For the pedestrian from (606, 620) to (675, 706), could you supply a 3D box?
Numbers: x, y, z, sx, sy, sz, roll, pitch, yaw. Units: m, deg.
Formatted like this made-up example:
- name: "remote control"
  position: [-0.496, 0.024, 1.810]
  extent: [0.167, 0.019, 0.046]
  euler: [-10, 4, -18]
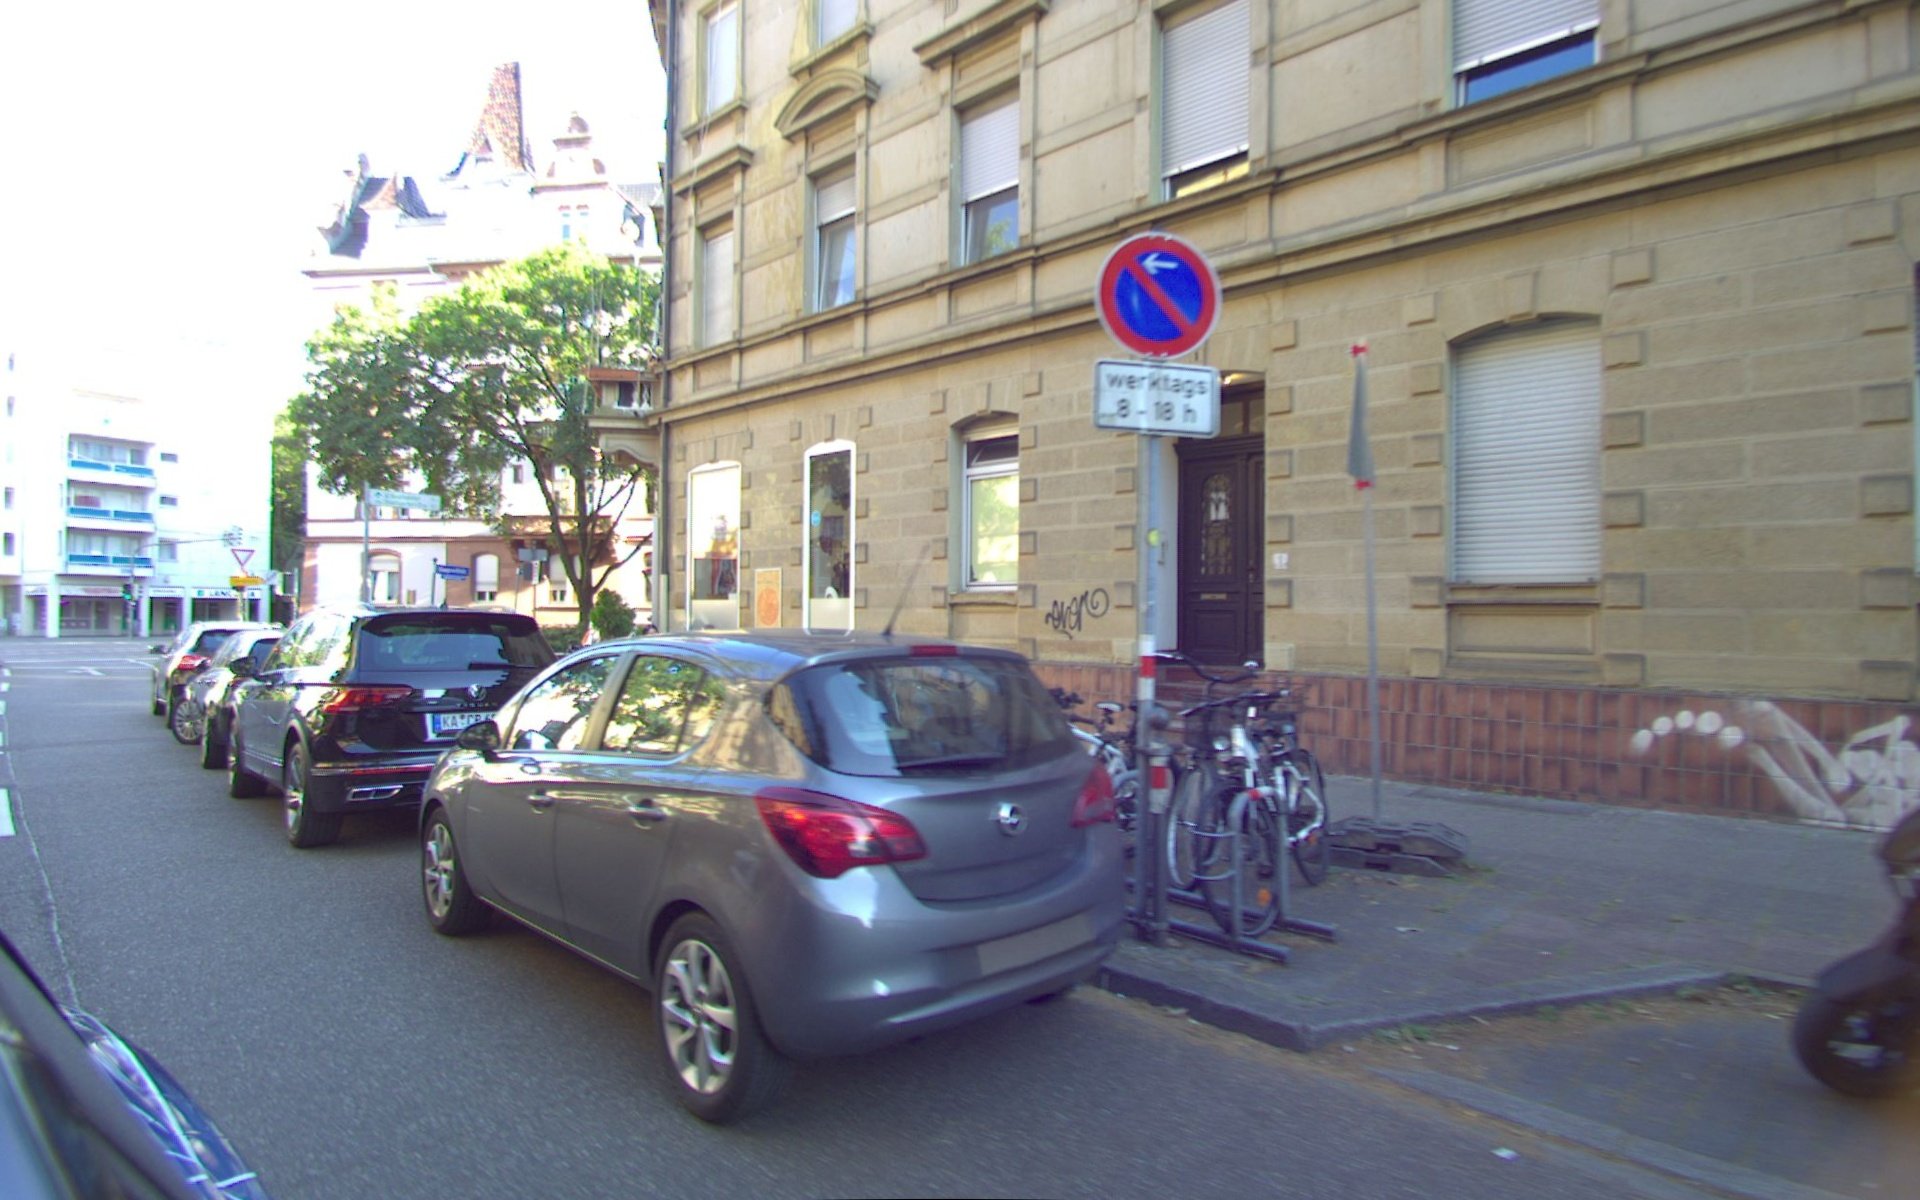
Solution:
- name: "pedestrian"
  position: [-4.912, 0.948, 15.575]
  extent: [0.756, 1.268, 0.718]
  euler: [-1, -2, 41]

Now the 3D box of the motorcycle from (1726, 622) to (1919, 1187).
- name: "motorcycle"
  position: [3.410, 0.741, 2.283]
  extent: [2.605, 1.380, 1.055]
  euler: [-1, -1, 41]

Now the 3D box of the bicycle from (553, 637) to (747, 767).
- name: "bicycle"
  position: [-3.094, 0.979, 10.243]
  extent: [1.846, 1.137, 0.529]
  euler: [-1, 0, -45]

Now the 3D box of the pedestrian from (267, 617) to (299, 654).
- name: "pedestrian"
  position: [-31.661, 1.674, 47.336]
  extent: [0.857, 1.710, 0.985]
  euler: [0, -1, -2]

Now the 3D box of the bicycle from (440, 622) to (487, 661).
- name: "bicycle"
  position: [-16.089, 1.324, 32.754]
  extent: [0.539, 1.205, 2.962]
  euler: [1, -2, -43]

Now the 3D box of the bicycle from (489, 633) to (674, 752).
- name: "bicycle"
  position: [-4.100, 0.962, 11.080]
  extent: [1.846, 1.137, 0.529]
  euler: [-1, 0, -45]

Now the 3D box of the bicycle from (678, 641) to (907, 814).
- name: "bicycle"
  position: [-1.265, 0.934, 7.988]
  extent: [0.528, 1.137, 1.847]
  euler: [-1, 0, 43]

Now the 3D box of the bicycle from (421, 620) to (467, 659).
- name: "bicycle"
  position: [-16.513, 1.247, 32.351]
  extent: [0.539, 1.205, 2.962]
  euler: [1, -2, -43]

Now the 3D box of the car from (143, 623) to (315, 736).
- name: "car"
  position: [-11.478, 1.133, 15.776]
  extent: [1.737, 1.499, 4.144]
  euler: [2, -2, -42]

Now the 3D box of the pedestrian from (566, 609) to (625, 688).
- name: "pedestrian"
  position: [-9.056, 1.181, 25.158]
  extent: [0.840, 1.913, 1.105]
  euler: [-1, -1, 33]

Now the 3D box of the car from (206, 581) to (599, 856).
- name: "car"
  position: [-4.736, 0.770, 8.224]
  extent: [1.737, 1.612, 4.555]
  euler: [2, -3, -43]

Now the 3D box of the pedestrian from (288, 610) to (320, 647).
- name: "pedestrian"
  position: [-30.735, 1.329, 47.420]
  extent: [0.857, 1.710, 0.985]
  euler: [0, -1, -3]

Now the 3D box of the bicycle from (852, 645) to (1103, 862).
- name: "bicycle"
  position: [0.172, 0.907, 6.581]
  extent: [0.528, 1.137, 1.847]
  euler: [-1, 0, 43]

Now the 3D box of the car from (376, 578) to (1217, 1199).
- name: "car"
  position: [-1.087, 0.771, 4.556]
  extent: [1.738, 1.512, 4.063]
  euler: [2, -3, -44]

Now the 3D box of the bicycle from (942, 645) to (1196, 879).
- name: "bicycle"
  position: [0.723, 0.884, 6.144]
  extent: [0.528, 1.137, 1.847]
  euler: [-1, 0, 43]

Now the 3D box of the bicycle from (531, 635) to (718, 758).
- name: "bicycle"
  position: [-3.528, 0.975, 10.770]
  extent: [1.846, 1.137, 0.529]
  euler: [-1, 0, -45]

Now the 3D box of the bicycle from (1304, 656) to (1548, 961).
- name: "bicycle"
  position: [2.352, 0.896, 4.977]
  extent: [0.528, 1.137, 1.847]
  euler: [-1, 0, 43]

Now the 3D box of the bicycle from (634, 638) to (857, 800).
- name: "bicycle"
  position: [-1.733, 0.927, 8.433]
  extent: [0.528, 1.137, 1.847]
  euler: [-1, 0, 43]

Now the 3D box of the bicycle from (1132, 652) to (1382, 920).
- name: "bicycle"
  position: [1.683, 0.902, 5.527]
  extent: [0.528, 1.137, 1.847]
  euler: [-1, 0, 43]

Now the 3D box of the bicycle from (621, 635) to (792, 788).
- name: "bicycle"
  position: [-2.187, 0.918, 8.996]
  extent: [0.524, 1.137, 1.861]
  euler: [-1, 0, 20]

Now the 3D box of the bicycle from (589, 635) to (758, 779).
- name: "bicycle"
  position: [-2.606, 0.932, 9.439]
  extent: [0.524, 1.137, 1.861]
  euler: [-1, 0, 20]

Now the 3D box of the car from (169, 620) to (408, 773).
- name: "car"
  position: [-8.130, 0.993, 12.050]
  extent: [1.737, 1.463, 4.556]
  euler: [2, -2, -41]

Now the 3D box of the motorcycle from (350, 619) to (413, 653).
- name: "motorcycle"
  position: [-22.181, 1.367, 38.867]
  extent: [0.836, 1.275, 2.098]
  euler: [0, -1, 18]

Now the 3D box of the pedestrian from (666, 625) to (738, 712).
- name: "pedestrian"
  position: [-3.768, 0.972, 14.769]
  extent: [0.756, 1.223, 0.718]
  euler: [-1, -2, 41]

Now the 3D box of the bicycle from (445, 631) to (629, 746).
- name: "bicycle"
  position: [-4.724, 0.953, 11.400]
  extent: [1.846, 1.137, 0.529]
  euler: [-1, 0, -45]

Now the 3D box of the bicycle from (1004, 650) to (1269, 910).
- name: "bicycle"
  position: [1.048, 0.892, 5.637]
  extent: [0.528, 1.137, 1.847]
  euler: [-1, 0, 43]
